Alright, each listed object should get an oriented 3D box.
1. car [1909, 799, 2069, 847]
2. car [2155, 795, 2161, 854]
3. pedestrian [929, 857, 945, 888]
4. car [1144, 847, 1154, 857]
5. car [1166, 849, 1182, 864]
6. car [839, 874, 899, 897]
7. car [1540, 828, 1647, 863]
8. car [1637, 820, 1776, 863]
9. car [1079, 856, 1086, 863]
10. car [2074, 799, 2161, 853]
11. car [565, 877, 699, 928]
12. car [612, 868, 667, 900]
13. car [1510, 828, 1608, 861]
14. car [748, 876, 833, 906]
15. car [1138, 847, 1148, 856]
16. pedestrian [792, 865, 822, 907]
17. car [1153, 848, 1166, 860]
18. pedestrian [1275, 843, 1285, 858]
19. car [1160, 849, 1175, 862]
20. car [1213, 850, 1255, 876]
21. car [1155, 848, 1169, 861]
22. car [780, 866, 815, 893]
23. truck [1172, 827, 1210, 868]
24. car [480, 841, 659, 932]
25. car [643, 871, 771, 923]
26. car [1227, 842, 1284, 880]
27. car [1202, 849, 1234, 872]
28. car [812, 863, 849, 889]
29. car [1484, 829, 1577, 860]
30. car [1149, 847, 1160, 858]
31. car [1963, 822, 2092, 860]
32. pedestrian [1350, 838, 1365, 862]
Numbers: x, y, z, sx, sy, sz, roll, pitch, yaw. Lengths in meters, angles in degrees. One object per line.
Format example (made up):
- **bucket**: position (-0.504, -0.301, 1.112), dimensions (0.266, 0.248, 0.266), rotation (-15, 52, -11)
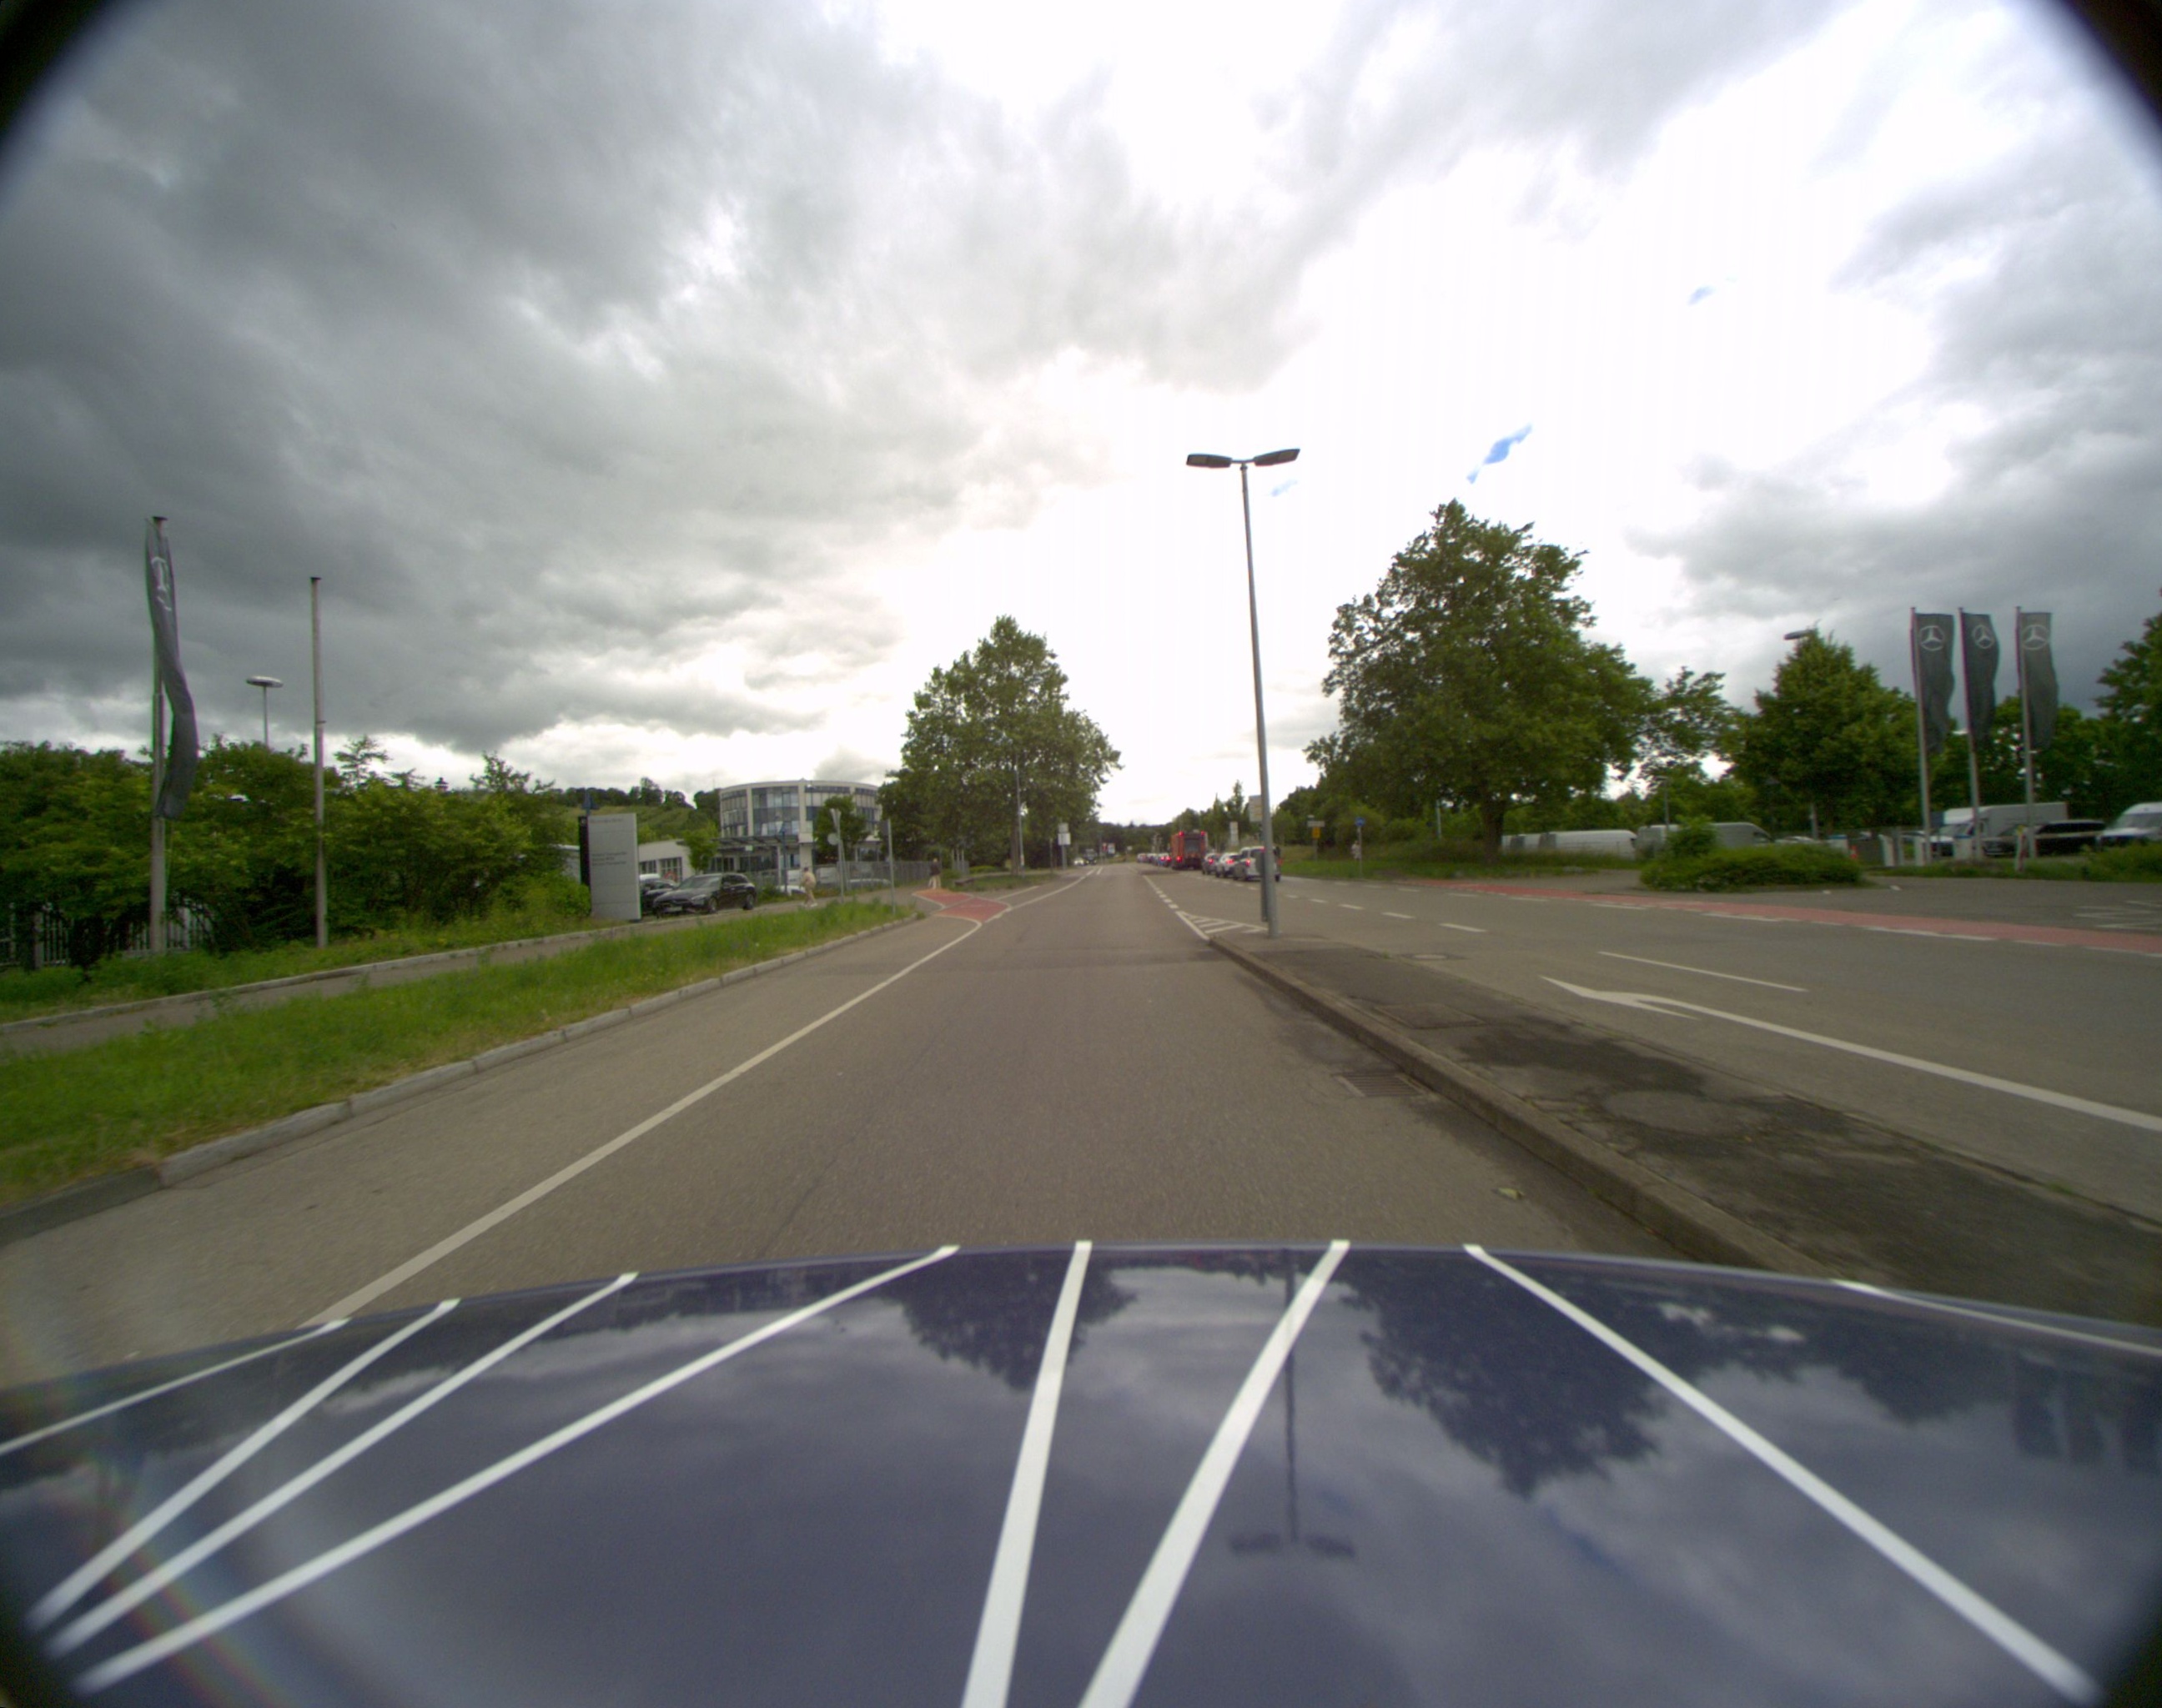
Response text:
- **car**: position (53.635, -1.812, 44.956), dimensions (6.956, 2.399, 2.000), rotation (-3, 1, 1)
- **car**: position (52.887, -1.536, 34.123), dimensions (6.959, 2.671, 1.999), rotation (-3, 1, -3)
- **pedestrian**: position (-7.952, 1.024, 41.988), dimensions (0.734, 1.717, 0.501), rotation (-1, 1, -4)
- **car**: position (11.668, -0.367, 130.442), dimensions (1.591, 1.608, 3.584), rotation (-2, 0, 4)
- **car**: position (10.515, 0.237, 85.772), dimensions (1.591, 1.608, 3.352), rotation (-2, 0, 4)
- **car**: position (-17.107, 2.504, 61.448), dimensions (4.188, 1.440, 1.819), rotation (-5, -1, -1)
- **car**: position (30.949, -0.506, 45.949), dimensions (5.297, 2.002, 1.739), rotation (-1, 1, 0)
- **car**: position (31.023, -0.614, 37.810), dimensions (5.298, 2.002, 2.011), rotation (-1, 1, -1)
- **car**: position (0.387, 1.304, 177.701), dimensions (1.592, 1.481, 3.583), rotation (-2, 0, -1)
- **car**: position (52.863, -1.449, 36.928), dimensions (6.959, 2.399, 1.999), rotation (-3, 1, -3)
- **car**: position (-15.696, 1.646, 26.893), dimensions (1.851, 1.408, 4.617), rotation (-5, -1, 1)
- **car**: position (-40.702, 2.744, 70.246), dimensions (2.219, 2.739, 4.485), rotation (-2, -1, 3)
- **car**: position (30.825, -0.602, 49.115), dimensions (5.298, 2.002, 1.739), rotation (-1, 1, -1)
- **car**: position (-16.807, 2.128, 44.057), dimensions (3.996, 1.310, 2.001), rotation (-6, -1, 3)
- **car**: position (11.148, -0.467, 136.242), dimensions (1.591, 1.608, 3.584), rotation (-2, 0, 4)
- **pedestrian**: position (-10.722, 1.233, 29.706), dimensions (0.814, 1.558, 0.941), rotation (-2, 2, -36)
- **car**: position (11.031, -0.046, 107.132), dimensions (1.591, 1.608, 3.584), rotation (-2, 0, 4)
- **pedestrian**: position (19.106, -0.325, 73.018), dimensions (0.757, 1.439, 0.639), rotation (-3, 2, 0)
- **car**: position (10.670, 0.170, 94.098), dimensions (1.591, 1.608, 3.584), rotation (-2, 0, 4)
- **car**: position (9.225, 0.518, 46.042), dimensions (1.733, 1.477, 4.122), rotation (-1, 0, 1)
- **car**: position (10.745, 0.084, 100.771), dimensions (1.591, 1.608, 3.584), rotation (-2, 0, 4)
- **car**: position (-25.798, 2.337, 69.053), dimensions (2.119, 2.261, 4.473), rotation (-2, -1, -32)
- **truck**: position (10.111, -0.635, 70.618), dimensions (2.831, 3.460, 7.824), rotation (-2, 1, 4)
- **car**: position (-18.617, 1.159, 28.260), dimensions (1.999, 2.800, 6.726), rotation (-5, -2, -1)
- **car**: position (-12.863, 1.410, 26.575), dimensions (1.851, 1.408, 4.981), rotation (-4, 0, 1)
- **car**: position (9.099, 0.345, 39.887), dimensions (1.833, 1.759, 4.406), rotation (-3, 0, -1)
- **car**: position (9.672, 0.454, 53.795), dimensions (1.639, 1.553, 3.351), rotation (-2, 0, 1)
- **car**: position (-22.955, 2.019, 69.633), dimensions (2.119, 2.261, 4.473), rotation (-2, -1, -32)
- **car**: position (30.490, -0.672, 51.597), dimensions (5.298, 2.002, 1.739), rotation (-1, 1, -1)
- **car**: position (11.319, -0.242, 117.193), dimensions (1.591, 1.608, 3.584), rotation (-2, 0, 4)
- **car**: position (52.642, -0.705, 42.297), dimensions (4.944, 1.796, 1.999), rotation (-3, 1, -3)
- **pedestrian**: position (20.113, -0.303, 55.323), dimensions (0.757, 1.727, 0.638), rotation (-4, 2, -8)
